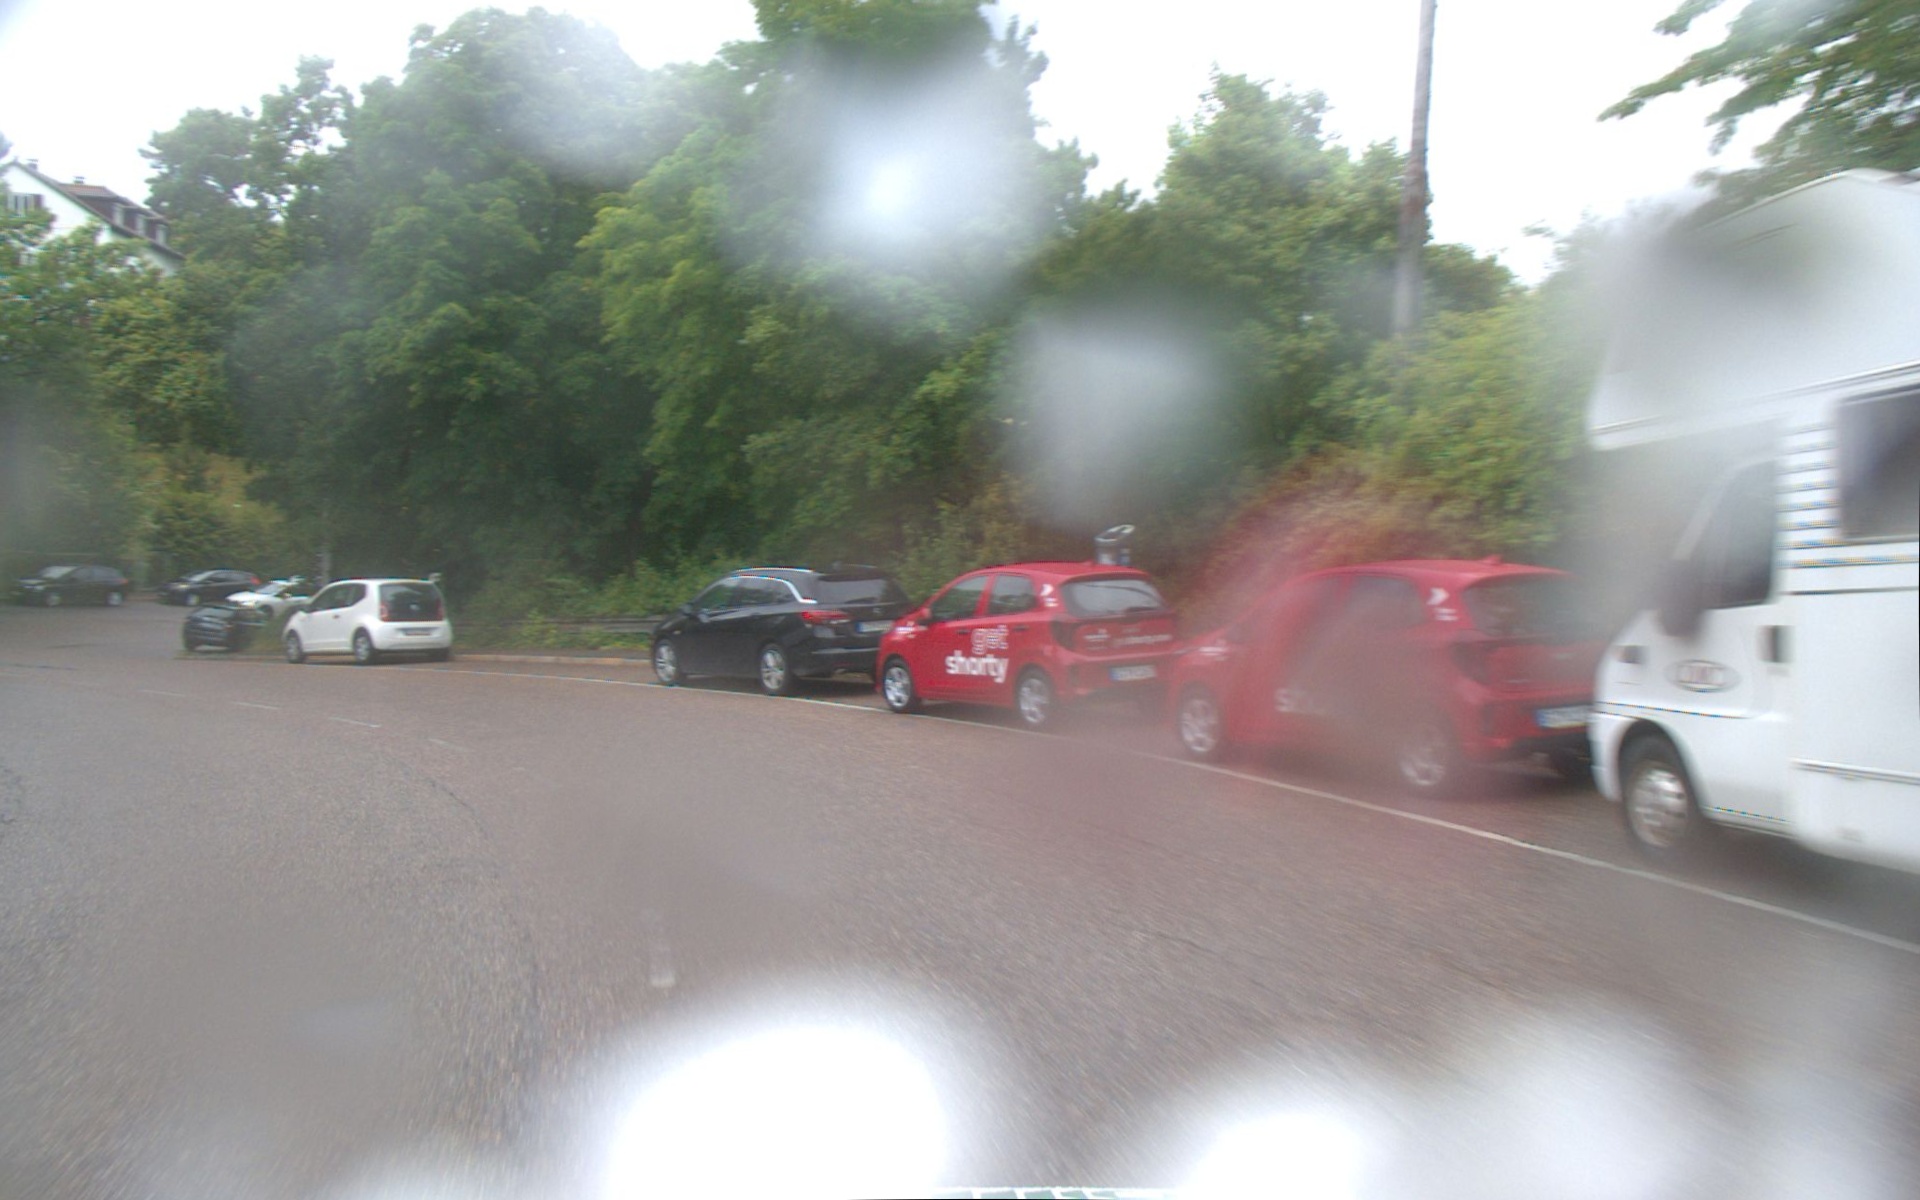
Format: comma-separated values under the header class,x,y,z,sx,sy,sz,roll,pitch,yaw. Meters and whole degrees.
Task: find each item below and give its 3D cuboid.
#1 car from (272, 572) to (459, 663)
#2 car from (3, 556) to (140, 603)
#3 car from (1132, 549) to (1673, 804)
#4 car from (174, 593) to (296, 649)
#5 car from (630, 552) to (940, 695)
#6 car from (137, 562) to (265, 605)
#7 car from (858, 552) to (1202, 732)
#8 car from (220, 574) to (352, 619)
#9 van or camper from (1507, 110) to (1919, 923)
class,x,y,z,sx,sy,sz,roll,pitch,yaw
car,-10.715,0.309,29.721,3.599,1.528,1.582,0,0,40
car,-32.963,-0.745,61.480,1.743,1.490,4.313,6,2,21
car,3.012,0.421,12.001,1.623,1.486,3.769,-3,2,-29
car,-22.026,0.627,50.419,1.615,1.490,4.034,6,0,3
car,-2.296,0.216,20.605,1.706,1.539,4.533,-3,2,-38
car,-30.327,-0.641,66.198,1.726,1.379,4.296,8,3,36
car,0.588,0.310,16.382,1.545,1.539,3.632,-3,3,-34
car,-25.940,-0.119,63.754,1.768,1.597,4.440,2,0,35
van or camper,4.711,-0.331,6.205,2.346,2.995,6.267,-2,1,-10
